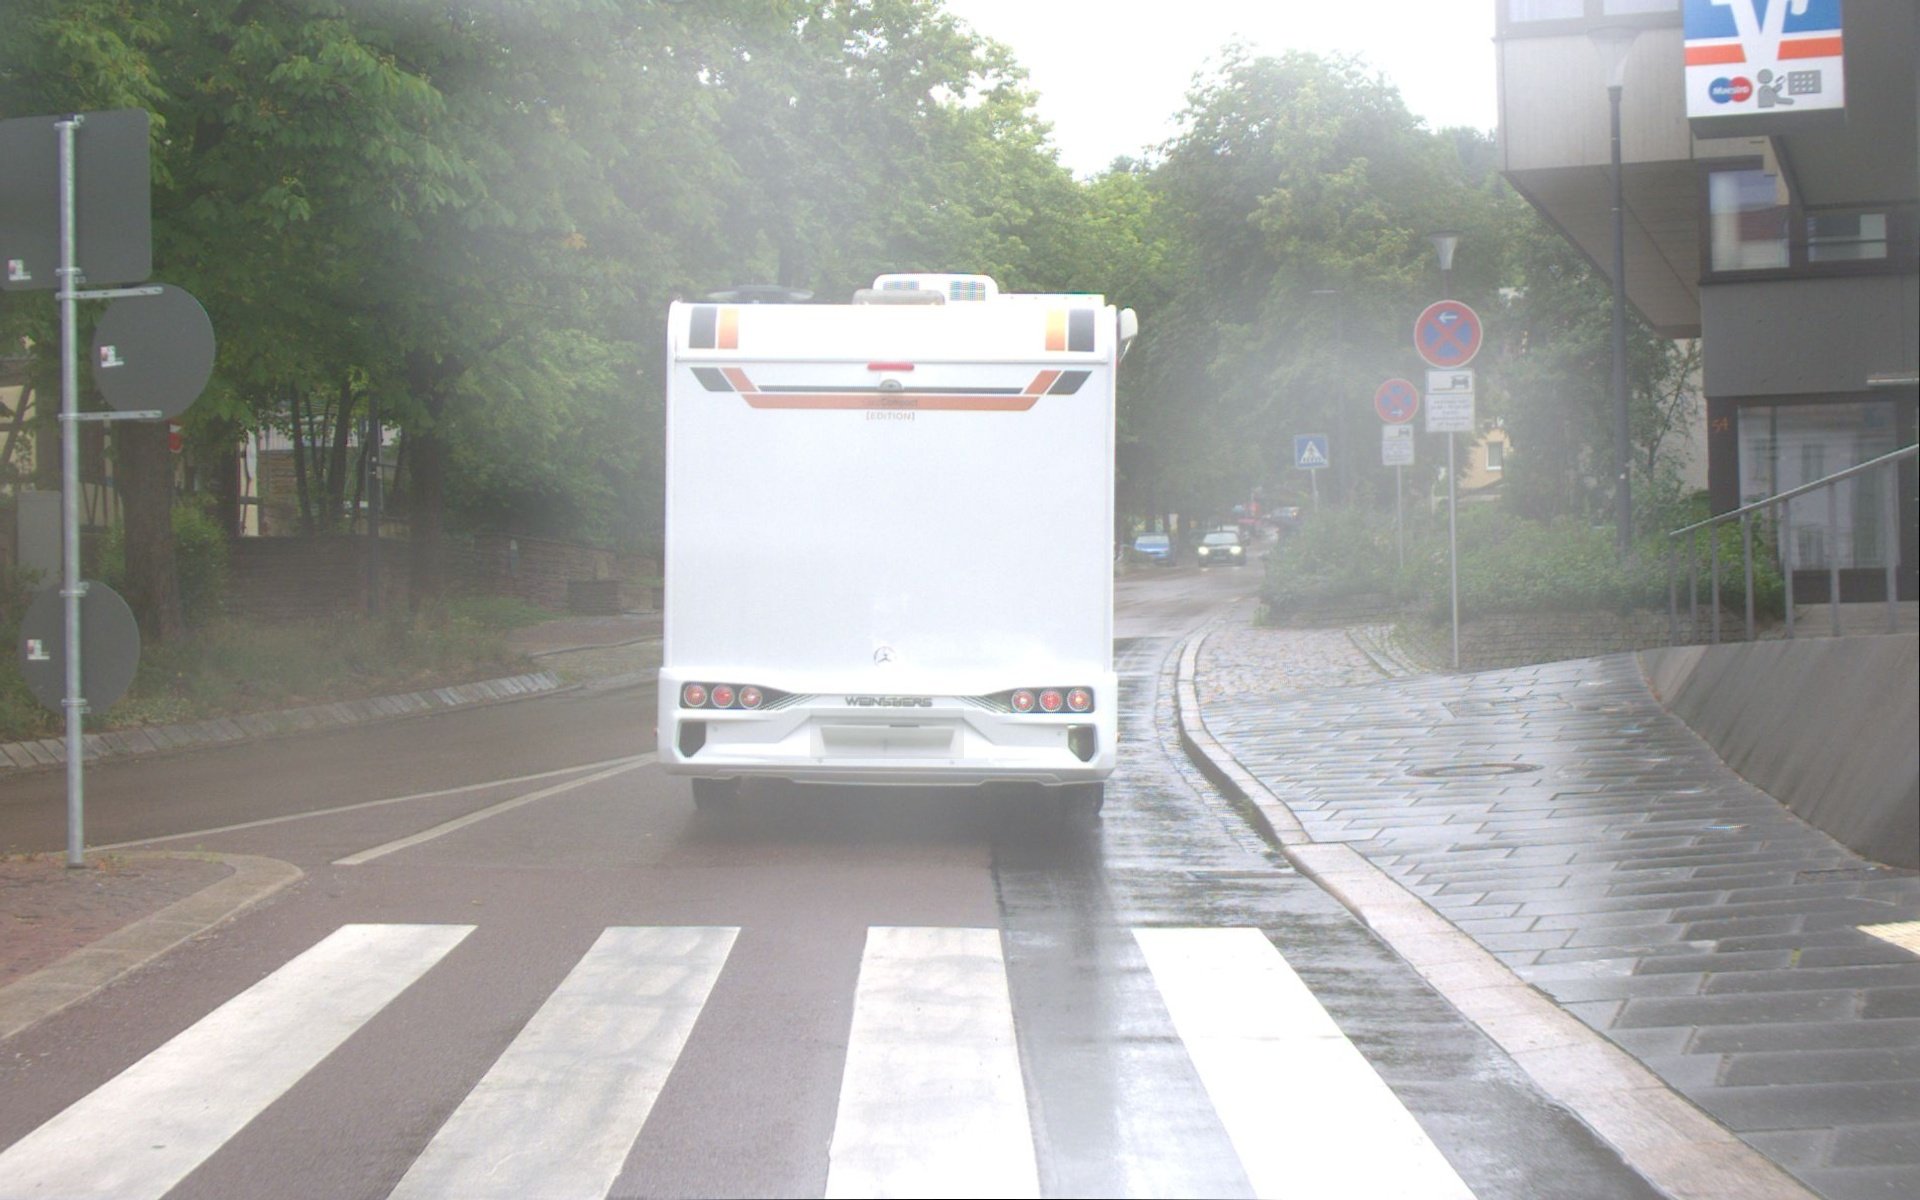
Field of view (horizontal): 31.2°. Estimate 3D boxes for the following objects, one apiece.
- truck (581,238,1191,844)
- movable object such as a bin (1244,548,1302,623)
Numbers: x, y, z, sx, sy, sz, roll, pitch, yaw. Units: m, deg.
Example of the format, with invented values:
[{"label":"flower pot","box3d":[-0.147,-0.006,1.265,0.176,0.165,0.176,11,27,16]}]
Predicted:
[{"label":"truck","box3d":[-0.339,-0.262,19.492,2.806,2.787,6.106,-2,0,0]},{"label":"movable object such as a bin","box3d":[4.816,-0.217,52.951,0.704,1.120,0.571,-3,-1,23]}]
